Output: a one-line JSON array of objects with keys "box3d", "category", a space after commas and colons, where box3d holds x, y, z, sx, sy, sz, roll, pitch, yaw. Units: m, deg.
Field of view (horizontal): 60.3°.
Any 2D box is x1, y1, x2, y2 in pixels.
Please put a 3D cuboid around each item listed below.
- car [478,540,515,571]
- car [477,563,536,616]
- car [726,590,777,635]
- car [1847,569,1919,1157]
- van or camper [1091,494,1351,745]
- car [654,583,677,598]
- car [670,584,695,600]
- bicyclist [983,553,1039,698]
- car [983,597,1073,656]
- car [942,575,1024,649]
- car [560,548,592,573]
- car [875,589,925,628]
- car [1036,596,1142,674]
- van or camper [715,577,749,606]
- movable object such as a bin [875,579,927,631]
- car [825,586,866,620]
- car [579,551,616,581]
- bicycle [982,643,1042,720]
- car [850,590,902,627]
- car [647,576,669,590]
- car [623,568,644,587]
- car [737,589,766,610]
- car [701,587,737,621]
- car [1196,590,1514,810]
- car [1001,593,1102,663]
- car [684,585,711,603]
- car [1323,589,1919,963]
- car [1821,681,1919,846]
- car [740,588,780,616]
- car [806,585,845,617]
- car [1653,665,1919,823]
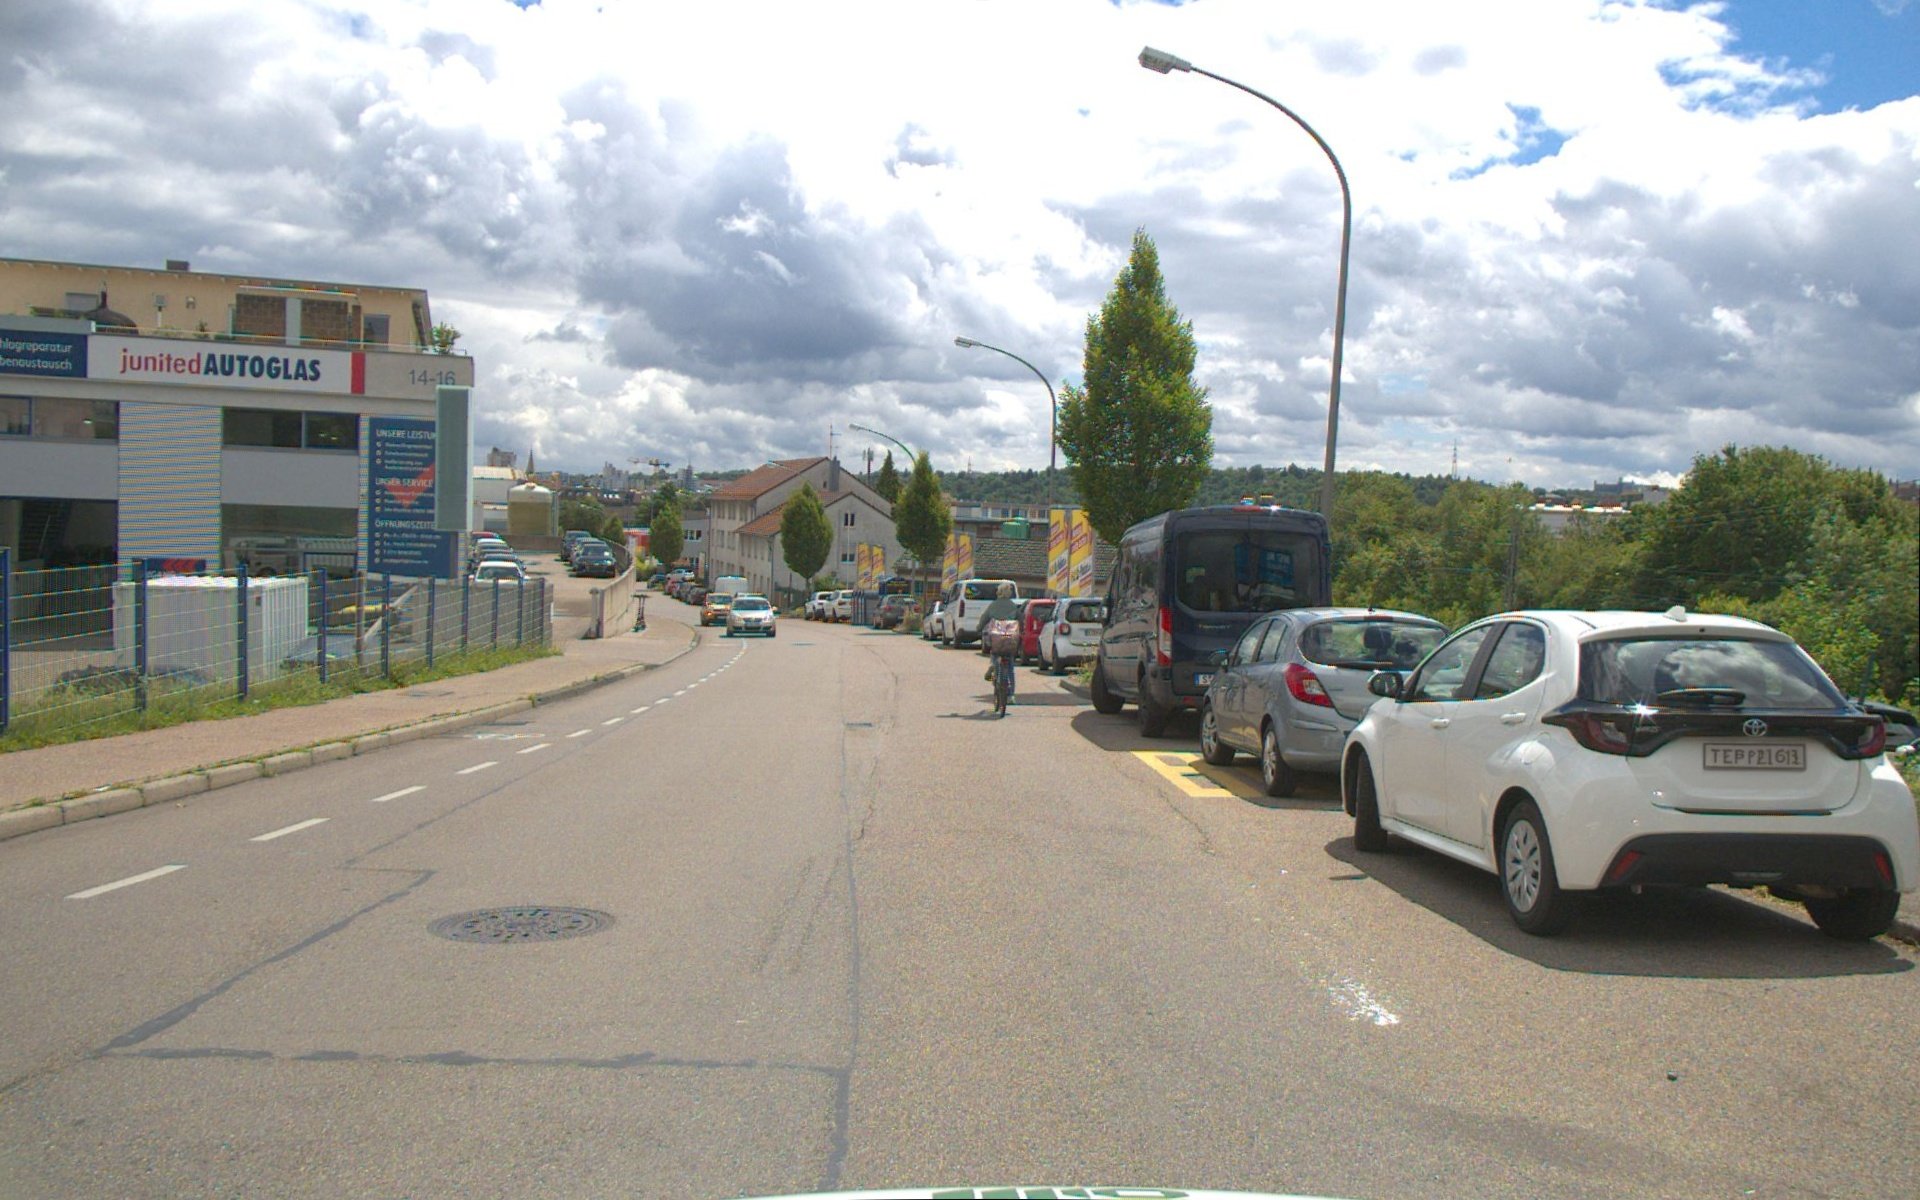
[{"box3d": [-21.615, -2.057, 77.162, 1.643, 1.347, 3.702, 0, 0, -15], "category": "car"}, {"box3d": [-14.951, -0.349, 54.552, 1.817, 1.679, 3.983, 0, 0, -15], "category": "car"}, {"box3d": [-7.759, 0.441, 61.224, 1.671, 1.589, 4.318, 0, 0, -10], "category": "car"}, {"box3d": [3.399, 0.743, 2.327, 1.671, 1.512, 4.571, 3, 1, -2], "category": "car"}, {"box3d": [3.012, 0.198, 20.556, 2.082, 2.630, 5.915, 1, 0, -2], "category": "van or camper"}, {"box3d": [-28.593, -0.936, 160.495, 1.960, 1.489, 3.986, 0, 0, -14], "category": "car"}, {"box3d": [-25.877, -0.754, 154.108, 1.960, 1.489, 3.986, 0, 0, -14], "category": "car"}, {"box3d": [0.664, 0.326, 21.800, 0.671, 1.857, 1.080, 0, 0, -2], "category": "bicyclist"}, {"box3d": [1.736, 0.661, 43.315, 1.866, 1.467, 3.539, 0, 0, -6], "category": "car"}, {"box3d": [0.644, 0.332, 49.937, 1.955, 2.049, 4.913, 2, 0, -5], "category": "car"}, {"box3d": [-21.921, -2.274, 94.292, 1.643, 1.346, 3.703, 0, 2, -15], "category": "car"}, {"box3d": [-2.654, 0.363, 72.432, 1.955, 1.646, 3.995, 0, 0, -6], "category": "car"}, {"box3d": [2.622, 0.692, 34.272, 1.758, 1.532, 2.903, 0, 0, -5], "category": "car"}, {"box3d": [-17.535, -0.670, 127.021, 1.961, 2.048, 3.984, 3, 0, -15], "category": "van or camper"}, {"box3d": [-2.755, 0.212, 77.100, 2.095, 2.343, 2.552, 0, 0, -10], "category": "movable object such as a bin"}, {"box3d": [-6.007, 0.131, 86.512, 1.780, 1.735, 3.991, 0, 0, -10], "category": "car"}, {"box3d": [-16.926, -1.592, 77.151, 1.641, 1.346, 3.706, 1, 2, -13], "category": "car"}, {"box3d": [0.664, 1.043, 21.737, 0.674, 0.893, 2.101, 0, 0, -1], "category": "bicycle"}, {"box3d": [-4.140, 0.386, 81.186, 2.095, 1.735, 3.991, 0, 0, -10], "category": "car"}, {"box3d": [-32.174, -1.845, 176.092, 1.960, 1.445, 3.984, 0, 0, -15], "category": "car"}, {"box3d": [-39.875, -2.758, 202.054, 1.963, 2.048, 3.980, 3, 0, -18], "category": "car"}, {"box3d": [-15.431, -0.044, 122.341, 1.957, 1.489, 3.991, 0, 0, -9], "category": "car"}, {"box3d": [-11.645, 0.187, 79.785, 1.677, 1.601, 3.992, 0, 0, -9], "category": "car"}, {"box3d": [3.215, 0.740, 14.175, 1.671, 1.536, 3.695, 3, 1, -2], "category": "car"}, {"box3d": [2.090, 0.621, 38.866, 1.838, 1.534, 3.996, 0, 0, -5], "category": "car"}, {"box3d": [-22.702, -0.536, 143.078, 1.960, 1.489, 3.986, 0, 0, -14], "category": "car"}, {"box3d": [3.379, 0.752, 9.060, 1.672, 1.505, 3.955, 3, 1, -3], "category": "car"}, {"box3d": [10.463, 1.737, 16.054, 1.671, 1.536, 4.528, 3, 1, -2], "category": "car"}, {"box3d": [-11.831, 0.107, 97.611, 1.959, 1.646, 3.987, 0, 0, -12], "category": "car"}, {"box3d": [-7.485, 0.037, 92.021, 1.809, 1.735, 3.991, 0, 0, -10], "category": "car"}, {"box3d": [10.371, 1.724, 20.717, 1.671, 1.536, 3.695, 3, 1, -2], "category": "car"}]
